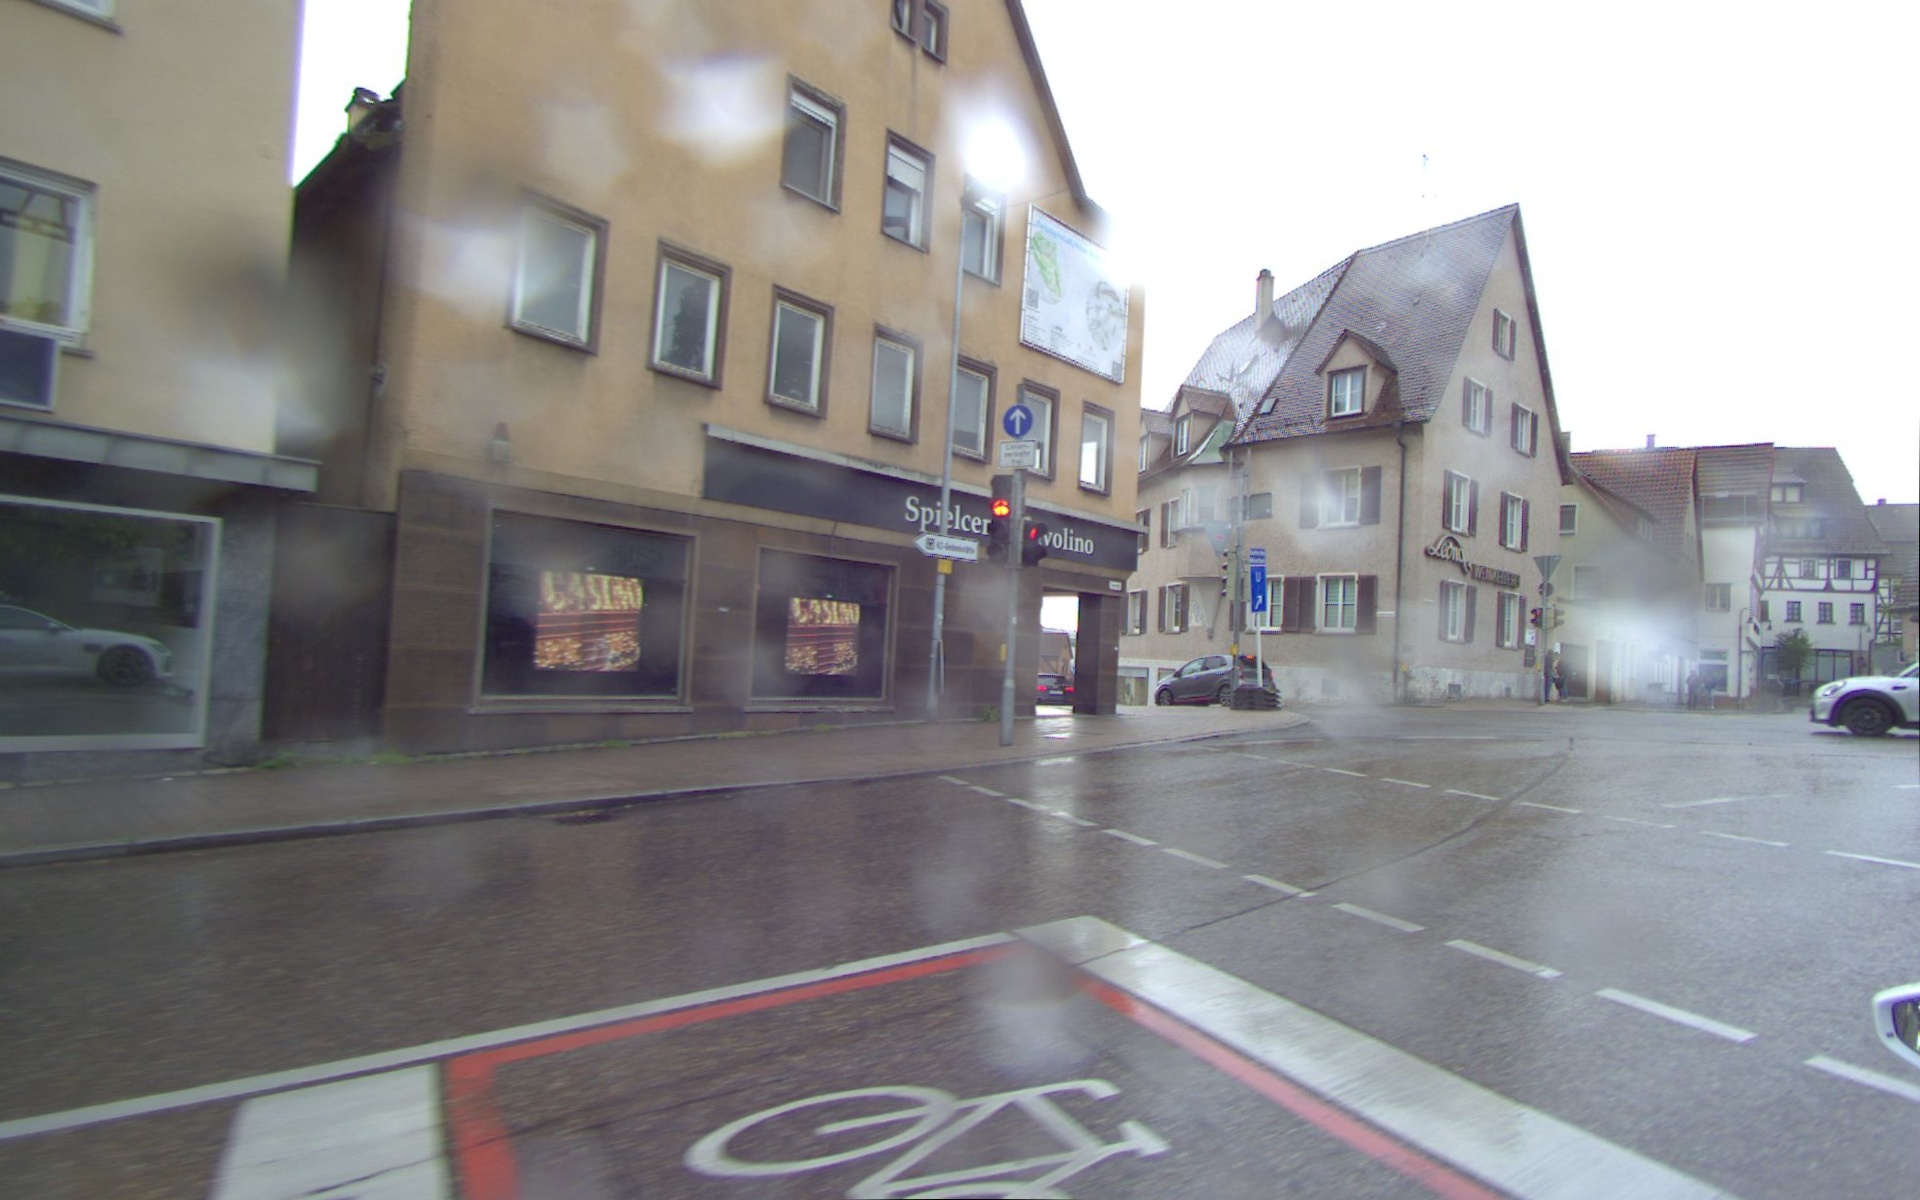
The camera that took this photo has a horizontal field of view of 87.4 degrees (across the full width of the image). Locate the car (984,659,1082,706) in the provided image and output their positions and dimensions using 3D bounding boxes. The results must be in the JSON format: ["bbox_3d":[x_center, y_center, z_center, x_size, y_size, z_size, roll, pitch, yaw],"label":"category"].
[{"bbox_3d":[2.691,3.117,38.252,1.804,1.608,4.726,0,-4,-22],"label":"car"}]

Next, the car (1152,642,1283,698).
[{"bbox_3d":[7.264,1.990,28.555,1.521,1.496,3.355,2,-5,-37],"label":"car"}]

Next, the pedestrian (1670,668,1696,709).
[{"bbox_3d":[31.908,3.898,44.311,0.626,1.754,0.772,2,-4,-41],"label":"pedestrian"}]

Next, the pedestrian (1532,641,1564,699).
[{"bbox_3d":[19.270,2.285,32.917,0.784,1.854,0.713,-4,-4,29],"label":"pedestrian"}]

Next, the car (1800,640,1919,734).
[{"bbox_3d":[15.858,1.333,15.707,1.987,1.449,3.950,2,-5,-44],"label":"car"}]

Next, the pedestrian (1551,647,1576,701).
[{"bbox_3d":[20.351,2.489,33.864,0.533,1.751,0.550,5,-3,-36],"label":"pedestrian"}]

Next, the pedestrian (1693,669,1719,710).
[{"bbox_3d":[32.451,3.894,43.694,0.626,1.754,0.772,2,-4,-41],"label":"pedestrian"}]
